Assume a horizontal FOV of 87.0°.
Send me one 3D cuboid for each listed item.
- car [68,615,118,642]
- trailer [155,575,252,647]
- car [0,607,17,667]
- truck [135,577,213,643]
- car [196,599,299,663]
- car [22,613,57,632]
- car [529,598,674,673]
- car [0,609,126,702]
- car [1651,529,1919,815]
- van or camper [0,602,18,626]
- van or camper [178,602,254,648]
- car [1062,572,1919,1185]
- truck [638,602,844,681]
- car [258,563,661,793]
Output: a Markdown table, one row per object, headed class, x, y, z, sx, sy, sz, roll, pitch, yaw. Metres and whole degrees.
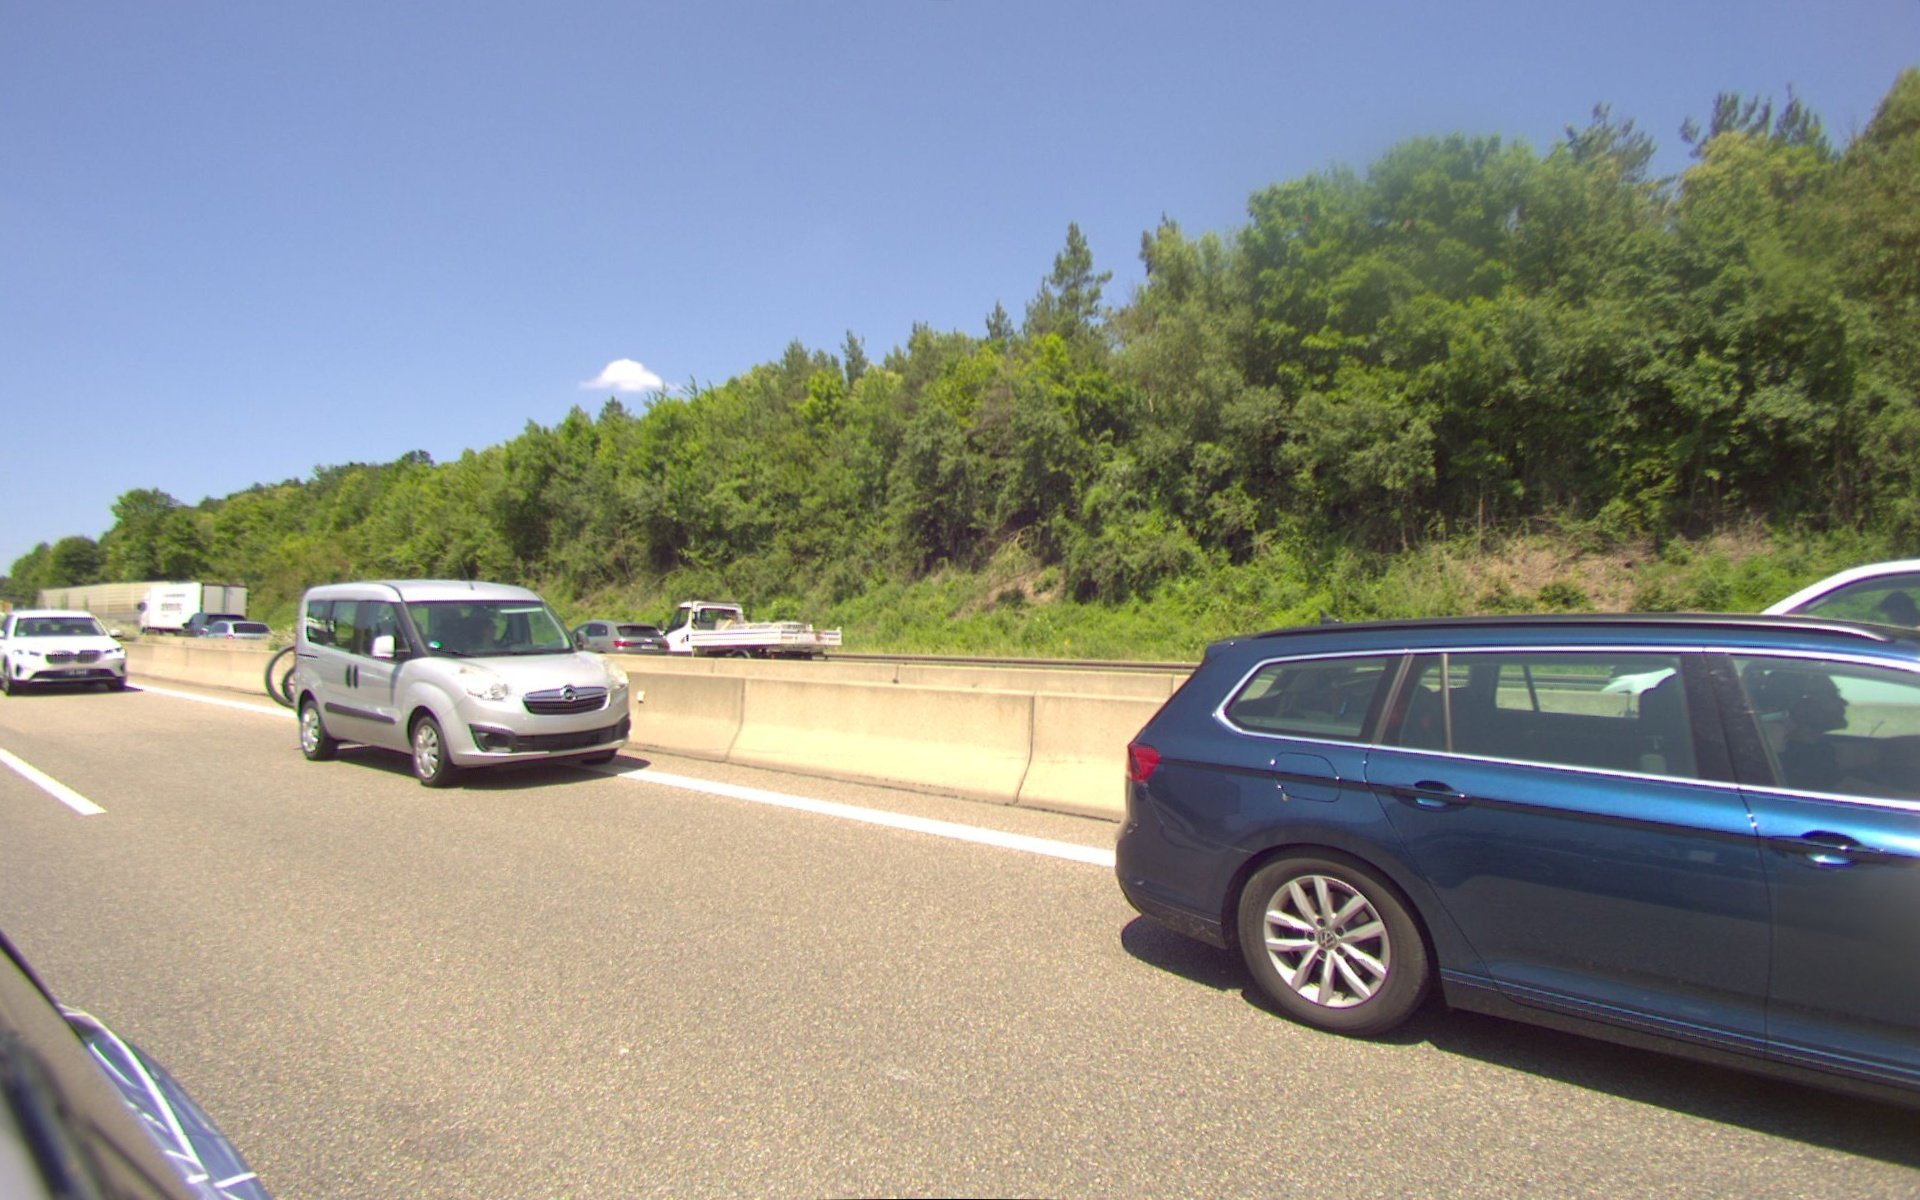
| class | x | y | z | sx | sy | sz | roll | pitch | yaw |
| --- | --- | --- | --- | --- | --- | --- | --- | --- | --- |
| car | -60.633 | 1.950 | 70.736 | 4.448 | 1.776 | 1.973 | 0 | 0 | 40 |
| trailer | -51.005 | 0.668 | 68.076 | 10.809 | 4.515 | 2.919 | 0 | 0 | 41 |
| car | -30.322 | 1.094 | 30.676 | 3.994 | 1.770 | 1.975 | 0 | 0 | 38 |
| truck | -56.532 | 0.656 | 72.746 | 7.512 | 4.515 | 2.919 | 0 | 0 | 40 |
| car | -24.234 | 0.988 | 34.364 | 3.998 | 2.029 | 1.973 | 0 | 0 | 41 |
| car | -99.932 | 2.439 | 109.864 | 4.472 | 2.029 | 2.093 | 0 | 0 | 38 |
| car | -9.657 | 0.871 | 27.114 | 4.290 | 1.851 | 1.766 | 0 | 0 | 40 |
| car | -18.917 | 1.051 | 21.026 | 3.997 | 1.719 | 1.801 | 0 | 0 | 41 |
| car | 8.119 | 0.512 | 7.370 | 4.953 | 2.029 | 1.974 | 0 | 0 | 40 |
| van or camper | -101.673 | 1.383 | 106.967 | 4.798 | 2.403 | 1.976 | 1 | -5 | 36 |
| van or camper | -35.094 | 1.126 | 47.677 | 4.927 | 2.029 | 1.972 | 0 | 0 | 42 |
| car | 2.777 | 0.665 | 3.217 | 4.675 | 1.461 | 1.855 | -1 | 0 | 41 |
| truck | -6.451 | 1.083 | 29.259 | 6.486 | 2.029 | 2.328 | 0 | 0 | 40 |
| car | -5.200 | 0.608 | 10.165 | 4.914 | 1.786 | 1.834 | 0 | 0 | 40 |
